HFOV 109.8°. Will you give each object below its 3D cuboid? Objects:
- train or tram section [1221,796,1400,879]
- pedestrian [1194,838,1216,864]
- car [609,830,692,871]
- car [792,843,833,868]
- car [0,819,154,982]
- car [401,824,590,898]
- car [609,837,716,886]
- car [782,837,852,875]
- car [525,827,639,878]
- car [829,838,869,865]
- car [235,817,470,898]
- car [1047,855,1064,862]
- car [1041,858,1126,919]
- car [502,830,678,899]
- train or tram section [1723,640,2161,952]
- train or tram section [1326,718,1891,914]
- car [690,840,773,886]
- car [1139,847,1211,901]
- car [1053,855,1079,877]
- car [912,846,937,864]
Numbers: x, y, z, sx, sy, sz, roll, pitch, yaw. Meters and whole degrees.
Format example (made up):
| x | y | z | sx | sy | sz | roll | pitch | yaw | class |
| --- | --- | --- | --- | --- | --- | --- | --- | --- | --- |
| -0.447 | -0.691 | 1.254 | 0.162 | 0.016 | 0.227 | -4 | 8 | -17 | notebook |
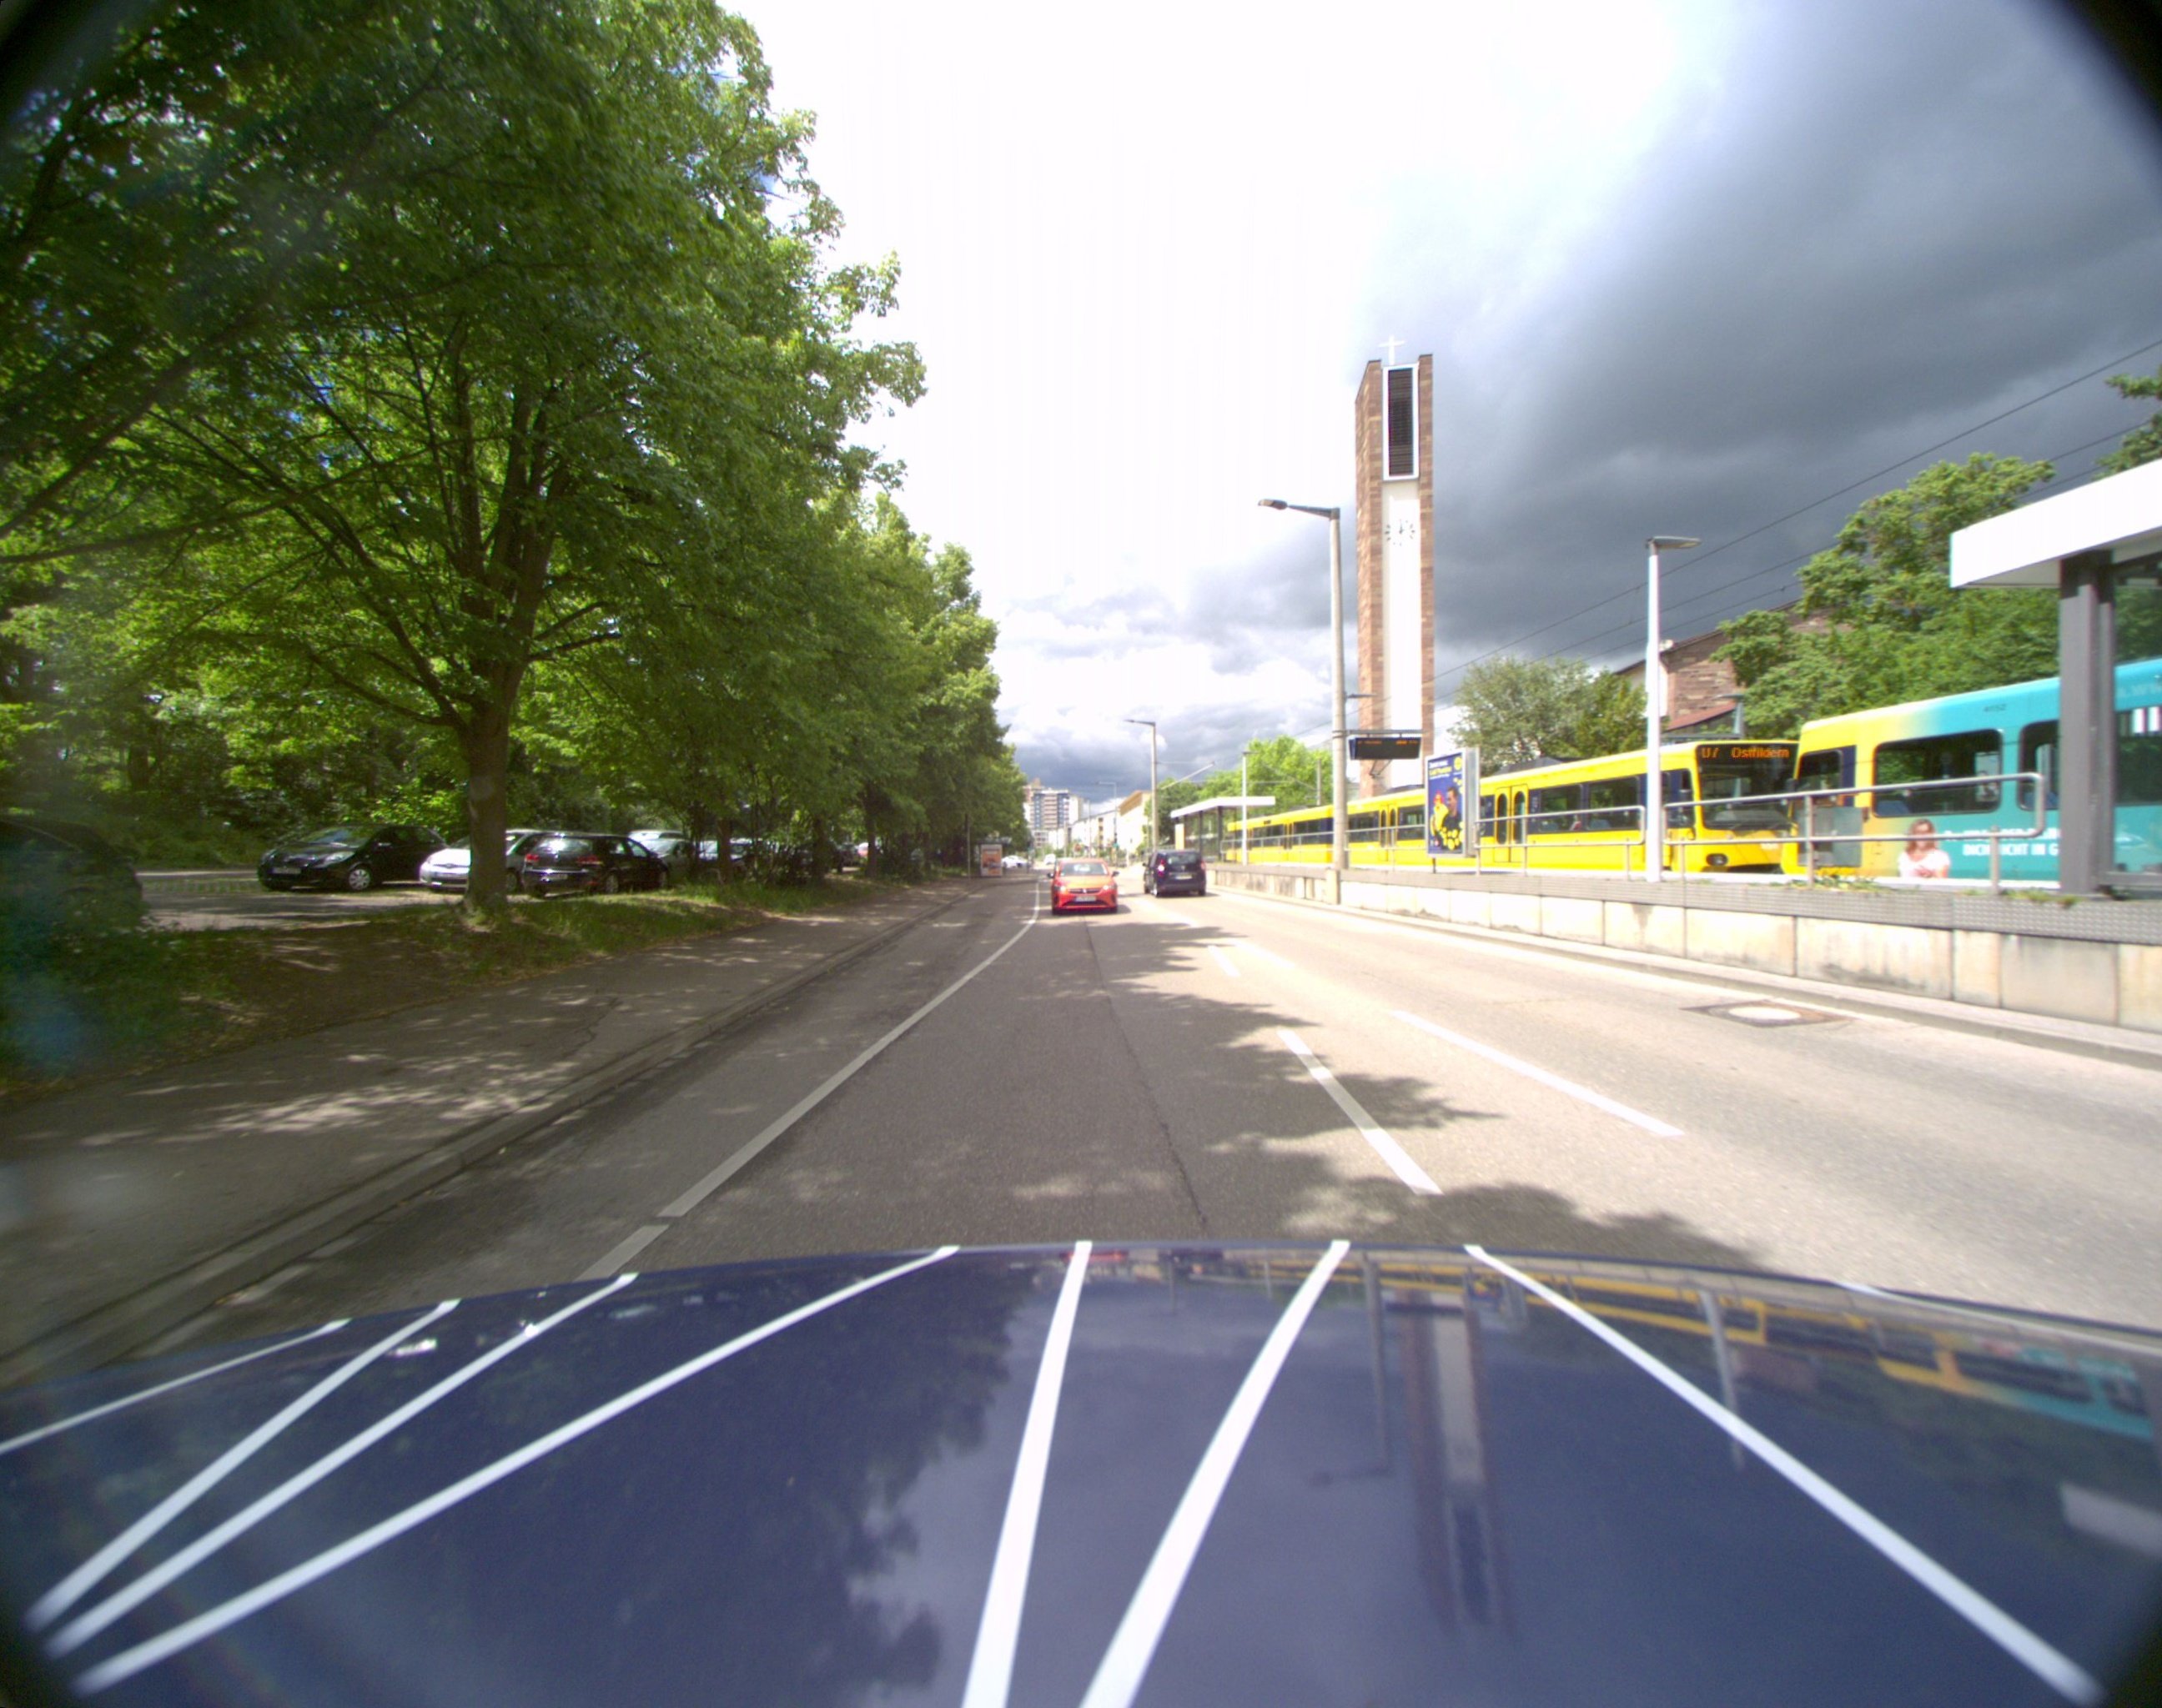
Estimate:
| x | y | z | sx | sy | sz | roll | pitch | yaw | class |
| --- | --- | --- | --- | --- | --- | --- | --- | --- | --- |
| 11.635 | -0.711 | 42.153 | 3.116 | 3.444 | 18.819 | -3 | 0 | -3 | train or tram section |
| 5.731 | -0.145 | 35.130 | 0.798 | 1.180 | 0.919 | 1 | 0 | -4 | pedestrian |
| -20.187 | -0.163 | 35.850 | 1.617 | 1.780 | 4.206 | 2 | 0 | -3 | car |
| -18.474 | 0.073 | 52.459 | 1.692 | 1.484 | 3.791 | 3 | 2 | -4 | car |
| -10.820 | 0.409 | 6.102 | 1.720 | 1.499 | 4.158 | 2 | 0 | -2 | car |
| -13.878 | 0.150 | 18.326 | 1.639 | 1.557 | 3.988 | 1 | 0 | -4 | car |
| -14.167 | 0.237 | 25.964 | 1.697 | 1.499 | 3.621 | 2 | 0 | -2 | car |
| -12.474 | 0.095 | 36.266 | 1.852 | 1.652 | 4.722 | -1 | 0 | -3 | car |
| -17.462 | -0.042 | 26.800 | 1.697 | 1.604 | 3.621 | 2 | 0 | -2 | car |
| -16.176 | -0.195 | 53.173 | 1.692 | 1.685 | 4.259 | 3 | 2 | -4 | car |
| -16.304 | 0.072 | 17.330 | 1.612 | 1.557 | 3.988 | 3 | 0 | -4 | car |
| -4.539 | 0.817 | 137.815 | 1.628 | 1.286 | 4.145 | 3 | 0 | 19 | car |
| -0.041 | 0.872 | 20.977 | 1.784 | 1.433 | 4.128 | -3 | 0 | -7 | car |
| -11.481 | 0.214 | 18.132 | 1.802 | 1.455 | 3.988 | 1 | 0 | -4 | car |
| 13.724 | -0.700 | 4.224 | 3.116 | 3.444 | 19.191 | -3 | 0 | -3 | train or tram section |
| 12.690 | -0.707 | 23.294 | 3.116 | 3.444 | 18.989 | -3 | 0 | -3 | train or tram section |
| -11.627 | 0.289 | 25.512 | 1.614 | 1.405 | 3.815 | 1 | 0 | -10 | car |
| 3.230 | 0.642 | 26.924 | 1.725 | 1.672 | 4.386 | -3 | 0 | -3 | car |
| -1.089 | 0.831 | 53.092 | 1.499 | 1.477 | 3.518 | 0 | 0 | -7 | car |
| -14.580 | 0.106 | 70.828 | 1.631 | 1.505 | 4.137 | 3 | 0 | -3 | car |
